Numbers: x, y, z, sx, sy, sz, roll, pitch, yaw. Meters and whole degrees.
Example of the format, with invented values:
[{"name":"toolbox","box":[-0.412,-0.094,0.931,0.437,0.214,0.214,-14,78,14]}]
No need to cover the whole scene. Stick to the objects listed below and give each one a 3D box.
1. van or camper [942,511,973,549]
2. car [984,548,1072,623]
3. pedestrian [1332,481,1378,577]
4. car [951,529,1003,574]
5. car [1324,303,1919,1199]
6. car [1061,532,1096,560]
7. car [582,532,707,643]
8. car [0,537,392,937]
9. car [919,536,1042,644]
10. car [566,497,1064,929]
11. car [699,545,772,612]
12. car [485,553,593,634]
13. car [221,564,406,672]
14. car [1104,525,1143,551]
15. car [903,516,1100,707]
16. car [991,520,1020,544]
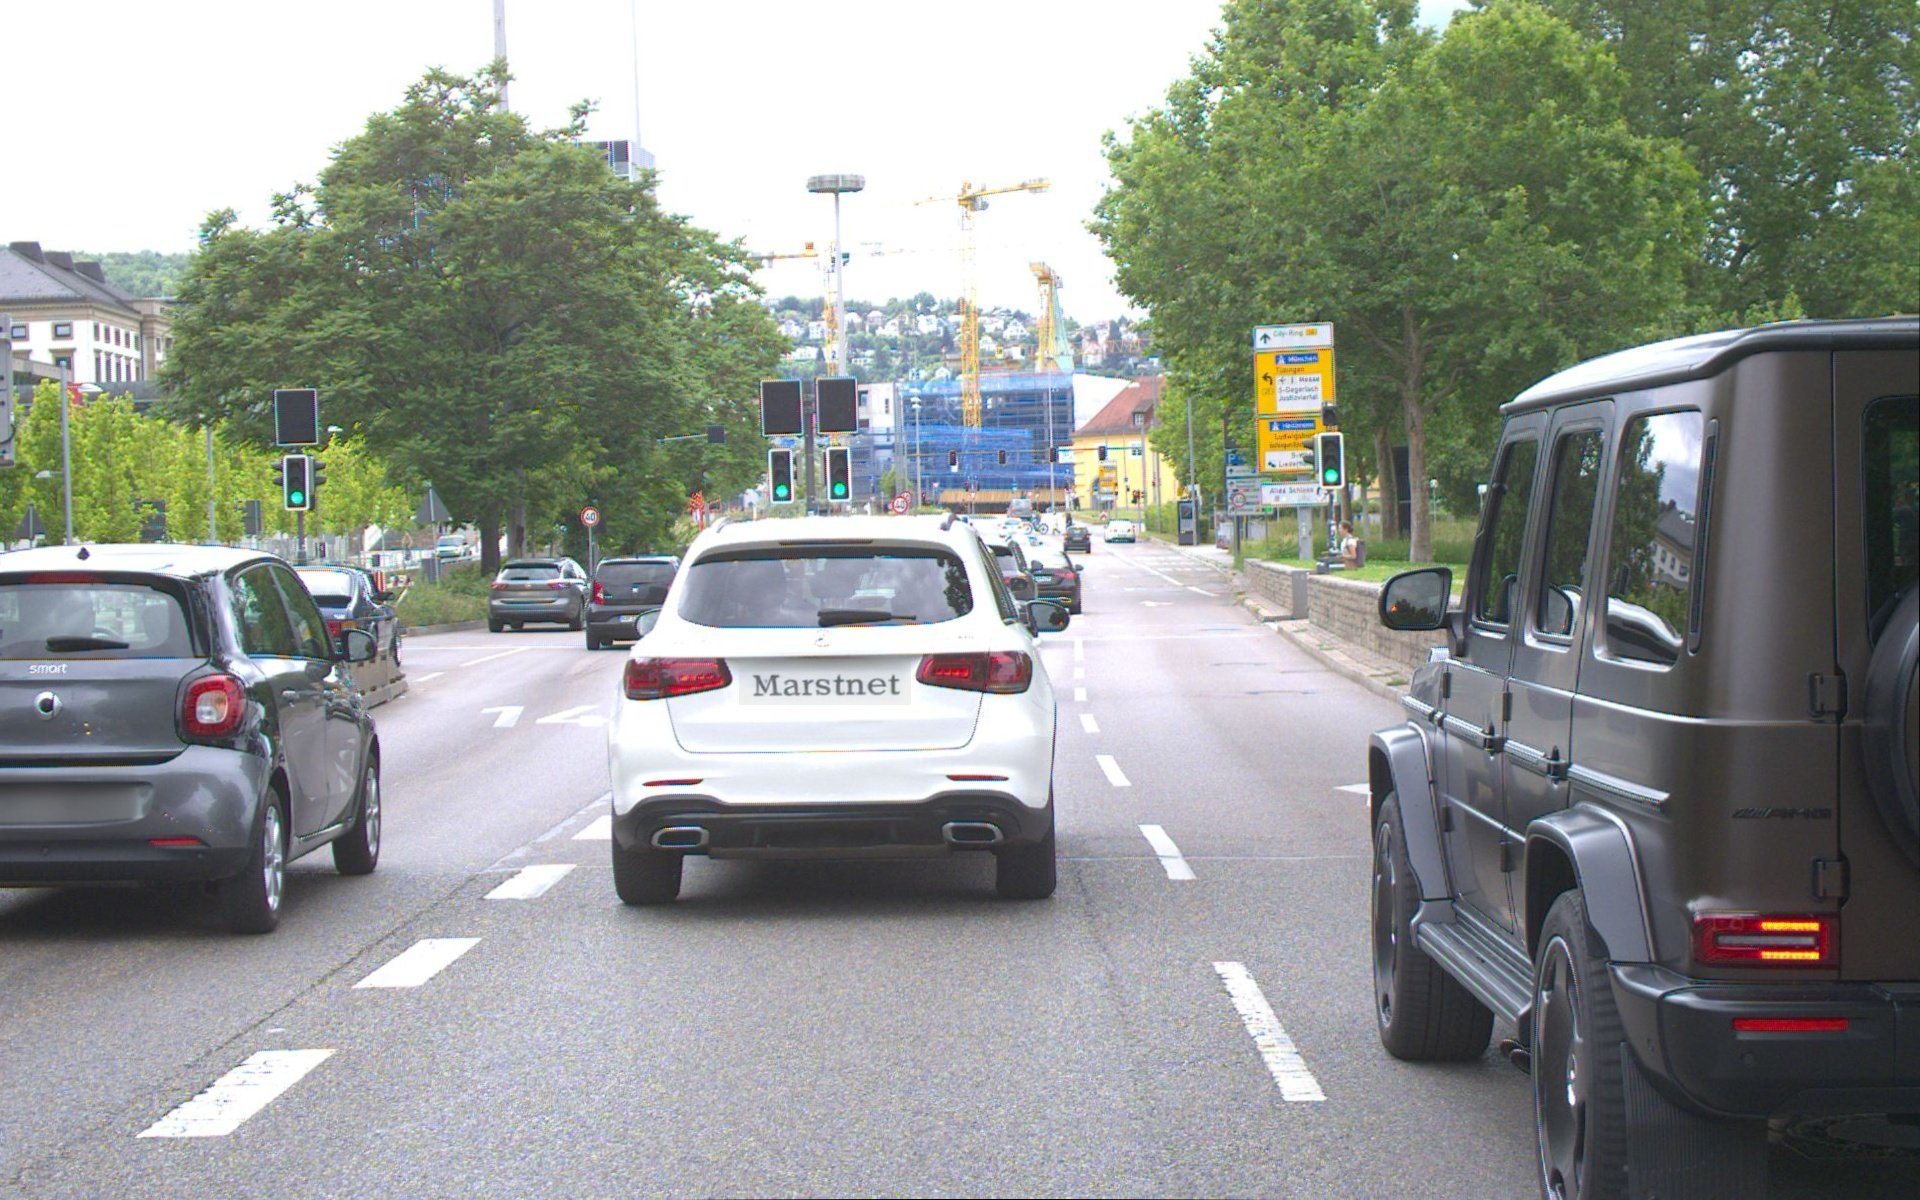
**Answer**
[{"name":"van or camper","box":[-0.185,-4.409,217.310,1.922,2.312,4.000,0,-1,-1]},{"name":"car","box":[1.465,-0.334,75.410,1.719,1.579,4.000,1,1,-2]},{"name":"pedestrian","box":[6.891,-1.236,60.025,0.697,1.650,0.684,1,0,0]},{"name":"car","box":[0.702,-1.942,138.792,1.993,1.751,4.000,1,0,1]},{"name":"car","box":[2.167,0.430,8.370,1.977,1.887,4.707,1,0,-1]},{"name":"car","box":[6.775,-3.103,196.557,1.719,1.579,4.000,1,1,-2]},{"name":"car","box":[-4.993,-0.222,54.794,1.719,1.673,4.000,1,1,-2]},{"name":"car","box":[-3.534,0.511,14.712,1.627,1.504,3.540,0,0,0]},{"name":"car","box":[0.285,-0.183,52.845,1.719,1.579,4.000,1,1,-2]},{"name":"car","box":[-0.598,0.440,15.551,1.940,1.678,4.000,1,0,-1]},{"name":"car","box":[-5.524,-0.544,84.911,1.719,1.579,4.001,1,1,-3]},{"name":"car","box":[-8.432,-0.153,69.113,1.753,1.548,4.000,1,1,-1]},{"name":"car","box":[-8.268,0.202,44.248,1.719,1.288,4.000,1,1,-2]},{"name":"car","box":[10.597,-4.040,223.147,1.993,1.612,4.001,1,0,-5]},{"name":"car","box":[0.377,0.105,31.610,1.672,1.622,4.000,1,0,1]},{"name":"car","box":[3.081,-4.591,233.361,1.719,1.579,4.000,1,1,-2]}]
